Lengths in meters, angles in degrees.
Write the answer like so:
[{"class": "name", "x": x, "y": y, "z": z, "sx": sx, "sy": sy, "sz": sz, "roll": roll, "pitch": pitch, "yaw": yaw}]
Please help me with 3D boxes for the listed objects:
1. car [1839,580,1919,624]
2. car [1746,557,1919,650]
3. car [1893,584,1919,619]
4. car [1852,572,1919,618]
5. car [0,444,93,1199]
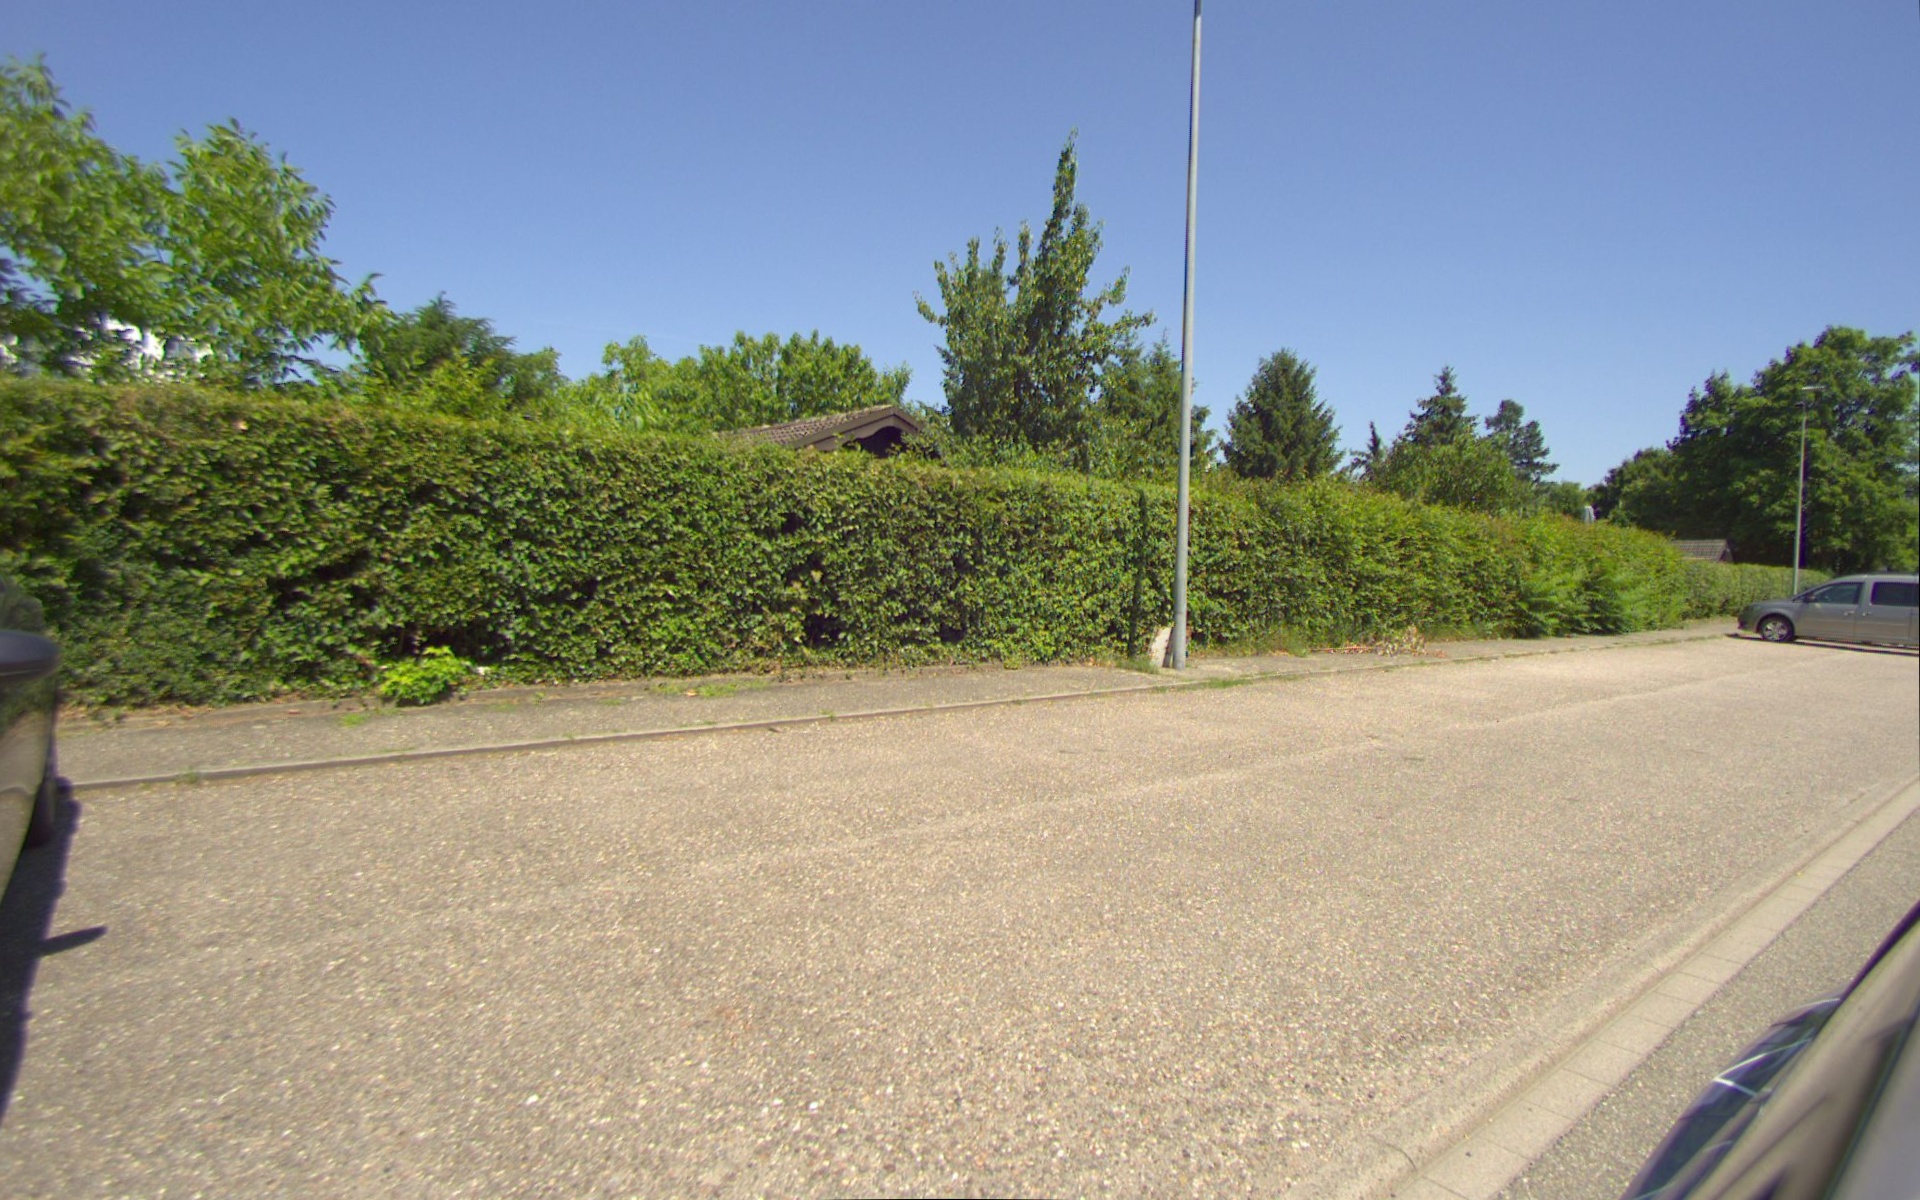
[{"class": "car", "x": 36.522, "y": 0.156, "z": 38.419, "sx": 1.930, "sy": 1.456, "sz": 4.563, "roll": -1, "pitch": 6, "yaw": -45}, {"class": "car", "x": 21.699, "y": 0.095, "z": 23.825, "sx": 1.961, "sy": 1.870, "sz": 4.634, "roll": 0, "pitch": 5, "yaw": -40}, {"class": "car", "x": 42.310, "y": 0.125, "z": 42.822, "sx": 1.801, "sy": 1.470, "sz": 4.003, "roll": -1, "pitch": 3, "yaw": -42}, {"class": "car", "x": 39.960, "y": -0.118, "z": 41.886, "sx": 1.821, "sy": 1.718, "sz": 4.269, "roll": 0, "pitch": 5, "yaw": -41}, {"class": "car", "x": -3.480, "y": 0.352, "z": 2.502, "sx": 1.849, "sy": 1.513, "sz": 4.176, "roll": -1, "pitch": 5, "yaw": -38}]
